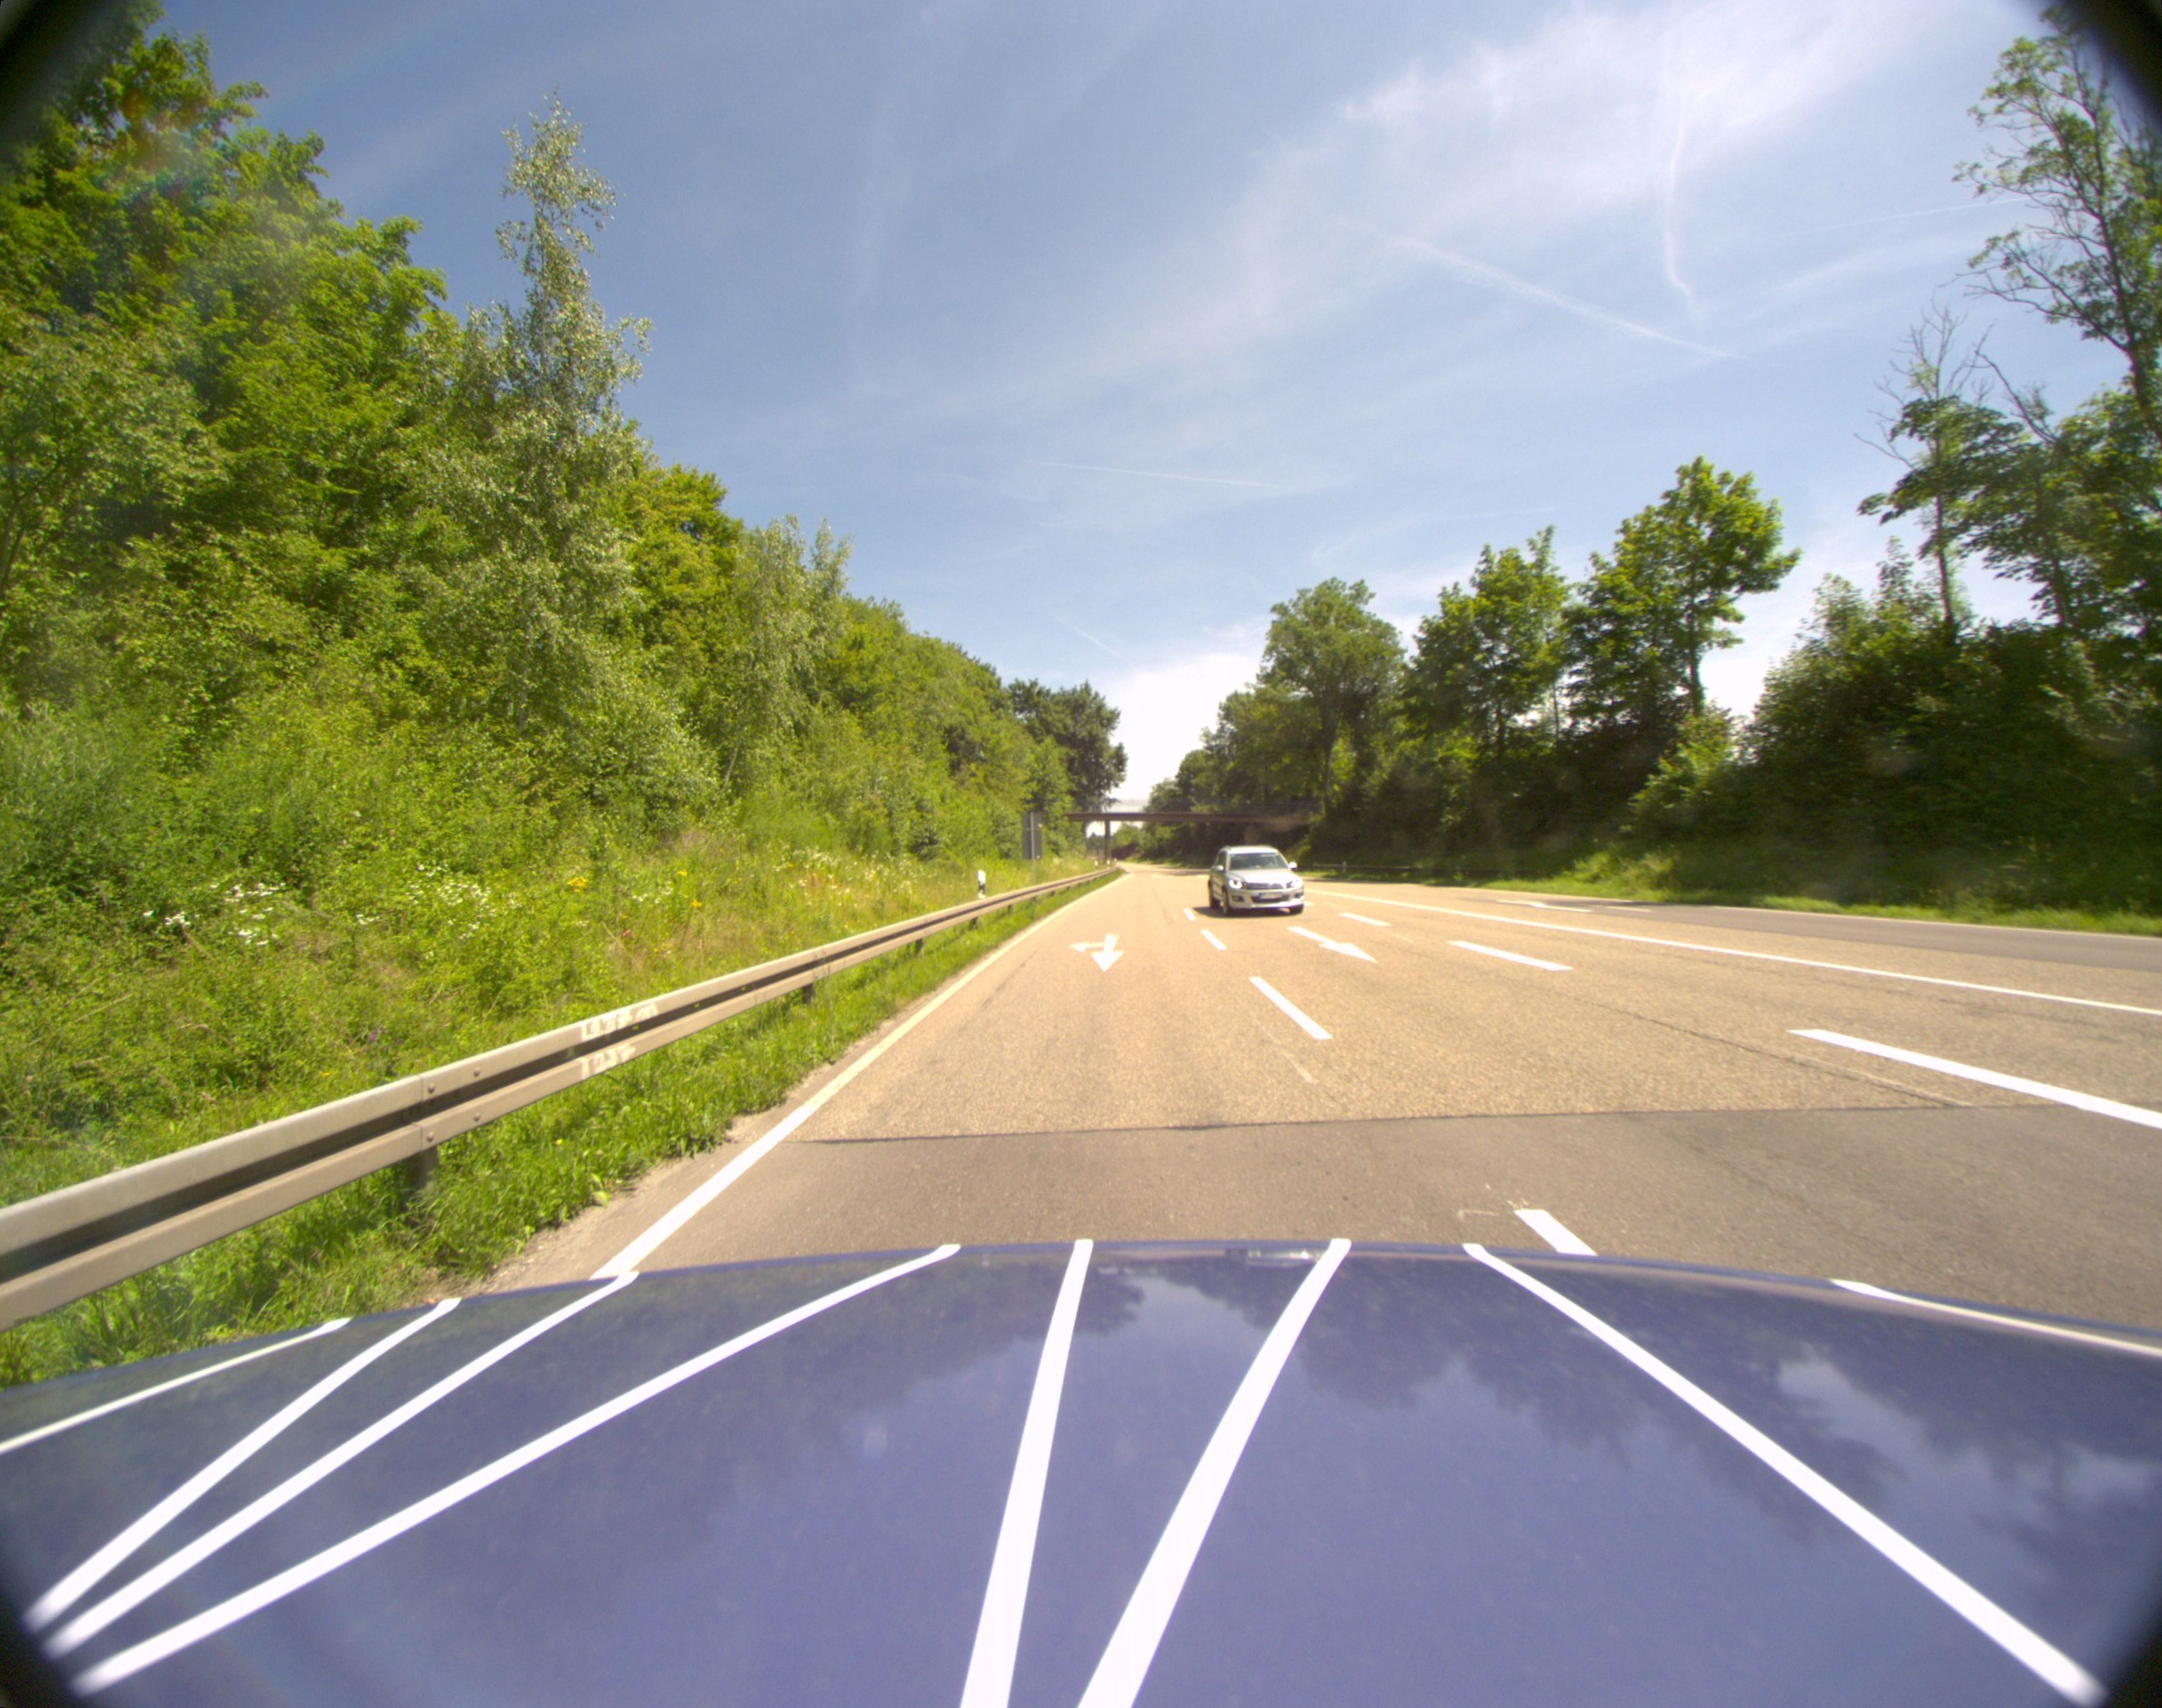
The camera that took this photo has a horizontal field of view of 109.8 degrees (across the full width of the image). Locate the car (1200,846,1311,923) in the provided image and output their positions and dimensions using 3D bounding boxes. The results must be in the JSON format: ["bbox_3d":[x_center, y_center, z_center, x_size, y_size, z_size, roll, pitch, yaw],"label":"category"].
[{"bbox_3d":[4.284,0.698,19.302,1.809,1.660,4.292,-3,0,1],"label":"car"}]
